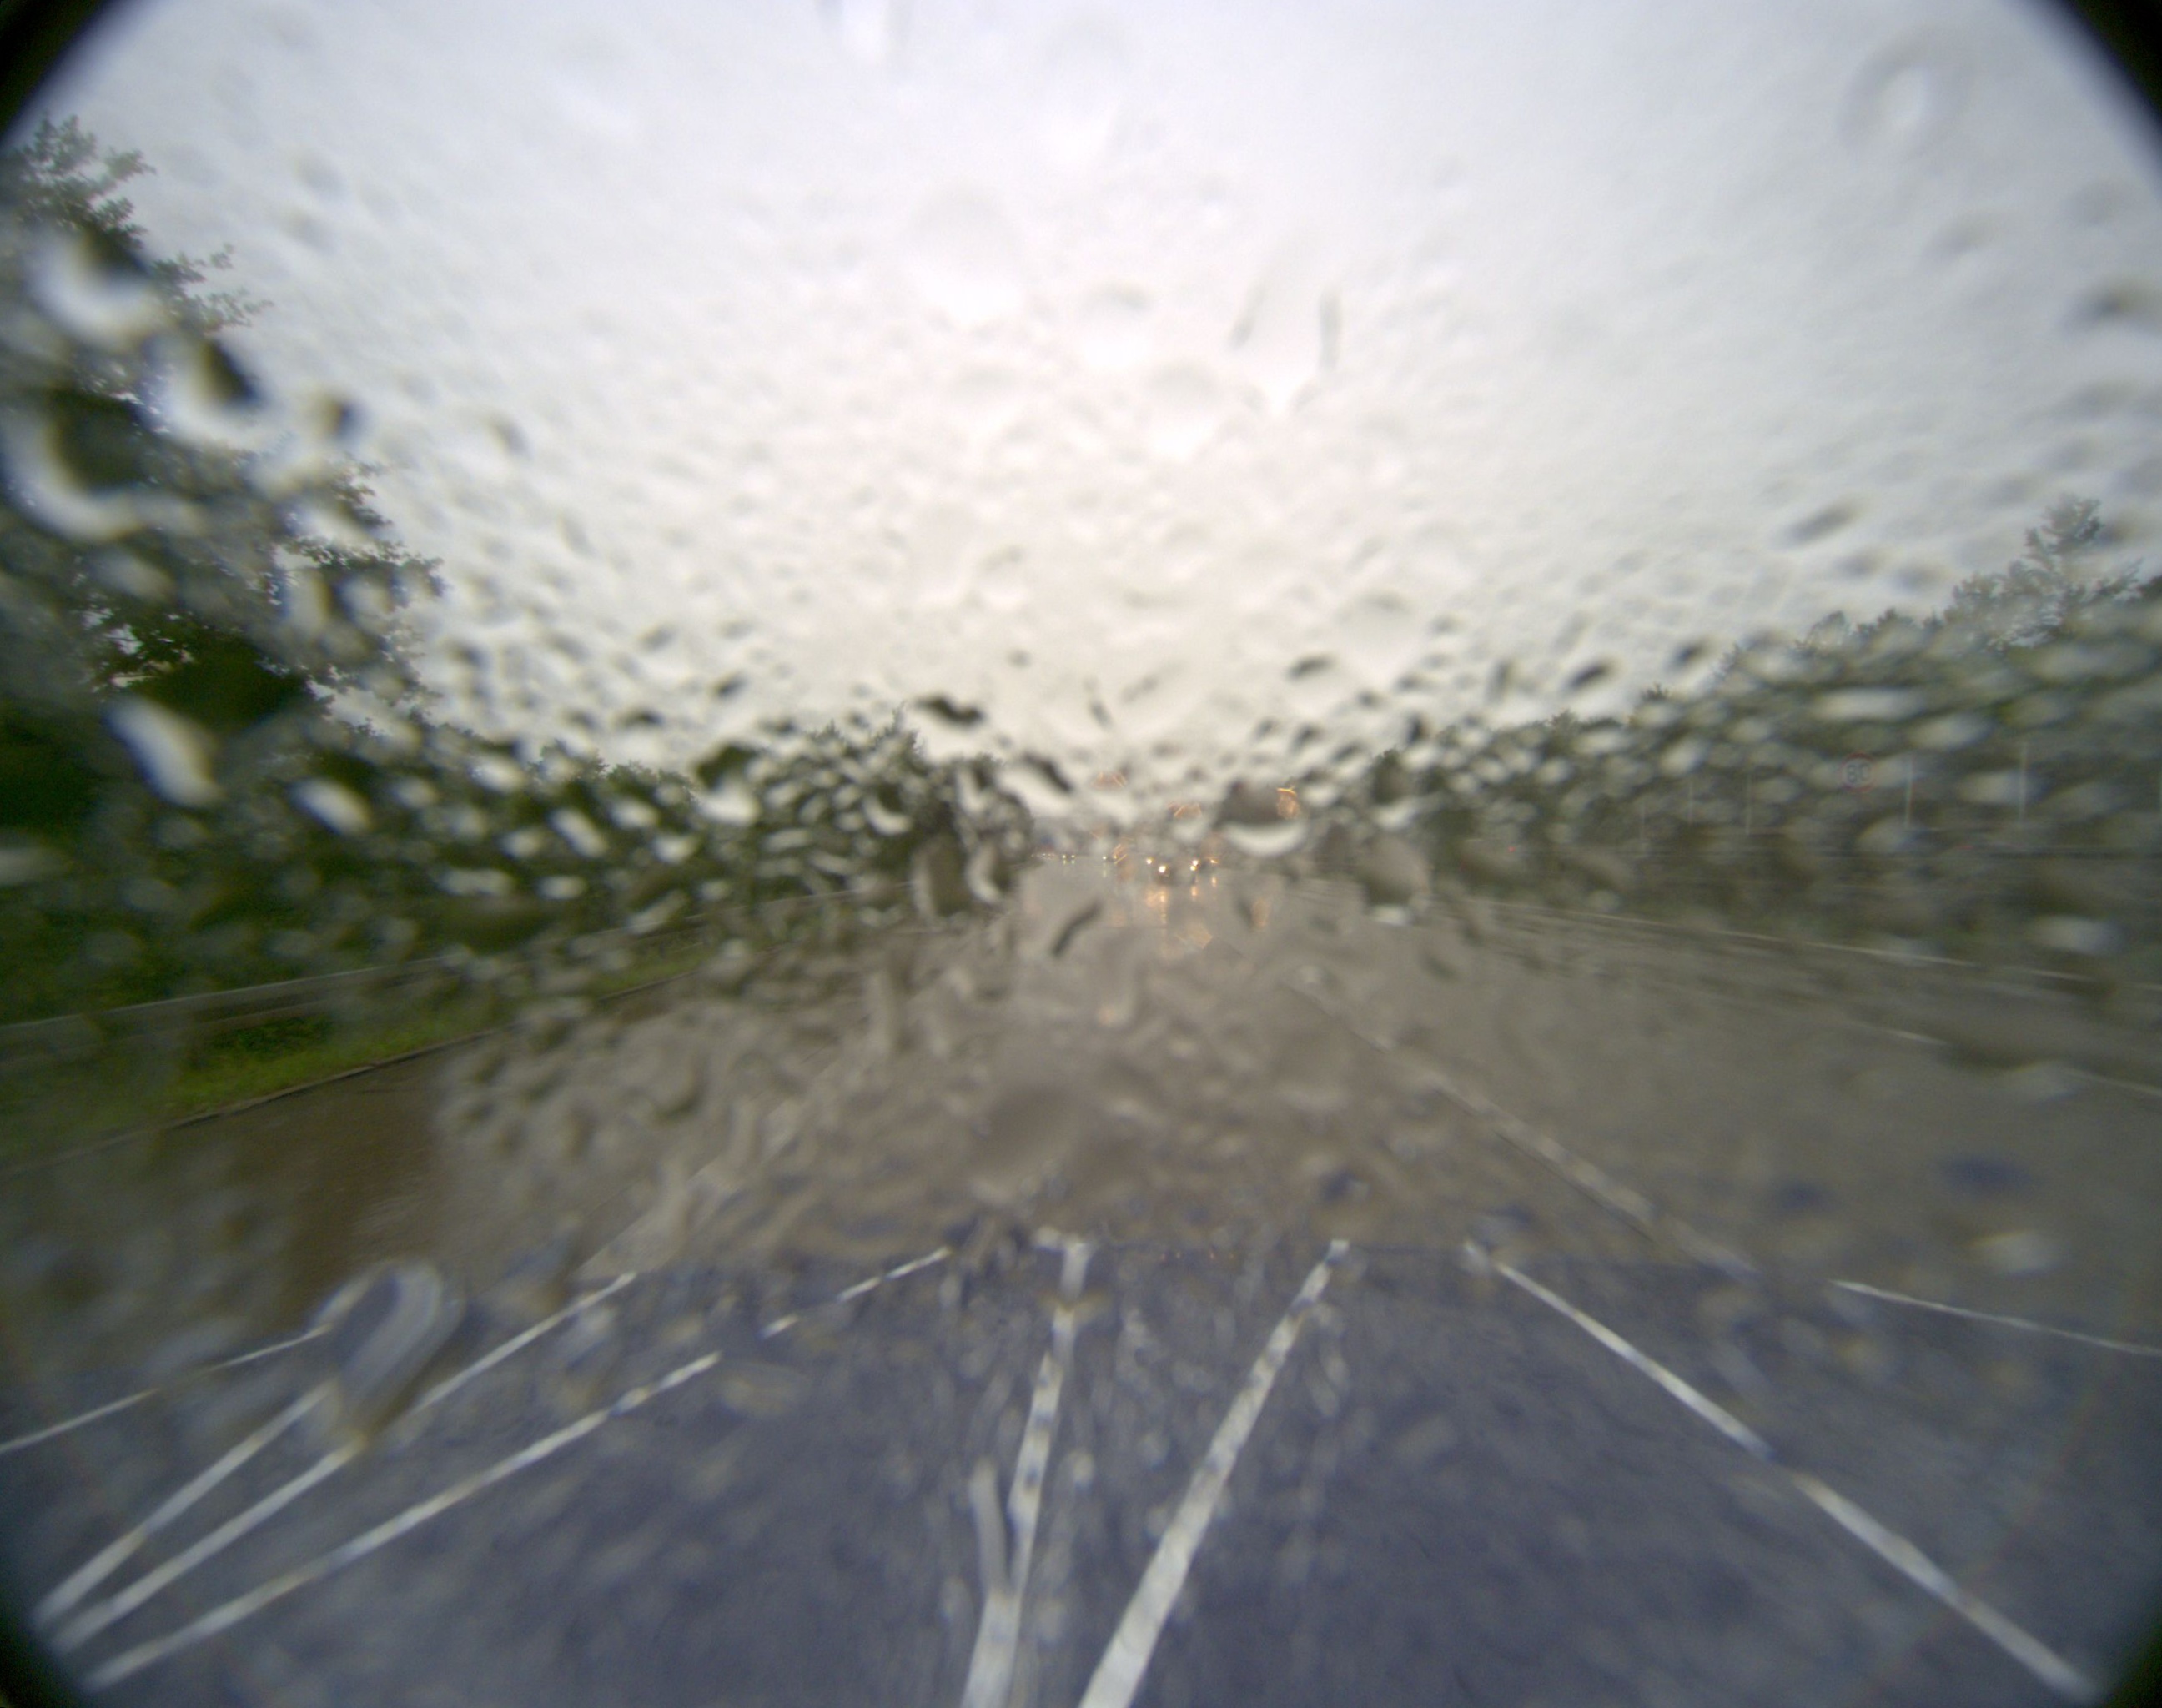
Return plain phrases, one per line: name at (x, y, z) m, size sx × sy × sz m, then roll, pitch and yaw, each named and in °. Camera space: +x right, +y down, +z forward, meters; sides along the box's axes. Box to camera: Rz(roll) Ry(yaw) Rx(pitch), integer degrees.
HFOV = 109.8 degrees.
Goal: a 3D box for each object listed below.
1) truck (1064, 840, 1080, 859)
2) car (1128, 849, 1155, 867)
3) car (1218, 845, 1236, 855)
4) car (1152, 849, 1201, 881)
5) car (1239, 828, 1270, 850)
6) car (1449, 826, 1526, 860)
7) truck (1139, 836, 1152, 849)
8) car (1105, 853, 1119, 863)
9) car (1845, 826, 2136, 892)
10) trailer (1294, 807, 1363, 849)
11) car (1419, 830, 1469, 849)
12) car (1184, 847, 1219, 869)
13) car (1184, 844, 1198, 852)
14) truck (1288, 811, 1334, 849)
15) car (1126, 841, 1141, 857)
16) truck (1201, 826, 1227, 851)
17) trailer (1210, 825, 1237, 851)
truck at (-2.054, -0.966, 173.382) m, size 3.058 × 3.994 × 10.045 m, roll 0°, pitch -2°, yaw 2°
car at (4.942, 0.306, 62.397) m, size 1.934 × 1.426 × 4.517 m, roll 0°, pitch 1°, yaw 0°
car at (21.479, -0.546, 111.653) m, size 1.757 × 1.331 × 4.424 m, roll -3°, pitch 0°, yaw 0°
car at (4.588, 0.486, 37.032) m, size 1.934 × 1.426 × 4.518 m, roll 0°, pitch 1°, yaw 1°
car at (22.036, -1.841, 96.871) m, size 2.188 × 2.552 × 7.445 m, roll -3°, pitch 0°, yaw 1°
car at (21.731, -0.590, 40.834) m, size 1.998 × 1.674 × 4.000 m, roll -1°, pitch 1°, yaw 1°
truck at (18.901, -3.366, 221.826) m, size 2.591 × 3.679 × 9.798 m, roll -3°, pitch 0°, yaw -1°
car at (4.347, 0.527, 108.460) m, size 1.934 × 1.426 × 4.518 m, roll 0°, pitch 1°, yaw 1°
car at (21.443, 0.084, 18.259) m, size 1.757 × 1.296 × 4.343 m, roll -3°, pitch 0°, yaw 0°
trailer at (25.297, -2.531, 78.544) m, size 2.774 × 3.779 × 13.777 m, roll -3°, pitch 0°, yaw 1°
car at (28.503, -1.107, 59.791) m, size 1.757 × 1.296 × 4.343 m, roll -3°, pitch 0°, yaw 0°
car at (8.291, 0.268, 52.781) m, size 1.671 × 1.426 × 4.349 m, roll -1°, pitch 1°, yaw -1°
car at (20.187, -1.129, 139.771) m, size 1.757 × 1.331 × 4.424 m, roll -3°, pitch 0°, yaw 0°
truck at (25.457, -2.577, 84.549) m, size 2.781 × 3.779 × 7.680 m, roll -3°, pitch 1°, yaw 1°
car at (8.393, -0.820, 121.334) m, size 2.045 × 2.616 × 6.403 m, roll 0°, pitch 1°, yaw 0°
truck at (24.402, -2.798, 139.772) m, size 2.855 × 4.130 × 10.177 m, roll -3°, pitch 1°, yaw 0°
trailer at (24.338, -2.735, 130.386) m, size 2.855 × 4.130 × 8.524 m, roll -3°, pitch 1°, yaw 0°
